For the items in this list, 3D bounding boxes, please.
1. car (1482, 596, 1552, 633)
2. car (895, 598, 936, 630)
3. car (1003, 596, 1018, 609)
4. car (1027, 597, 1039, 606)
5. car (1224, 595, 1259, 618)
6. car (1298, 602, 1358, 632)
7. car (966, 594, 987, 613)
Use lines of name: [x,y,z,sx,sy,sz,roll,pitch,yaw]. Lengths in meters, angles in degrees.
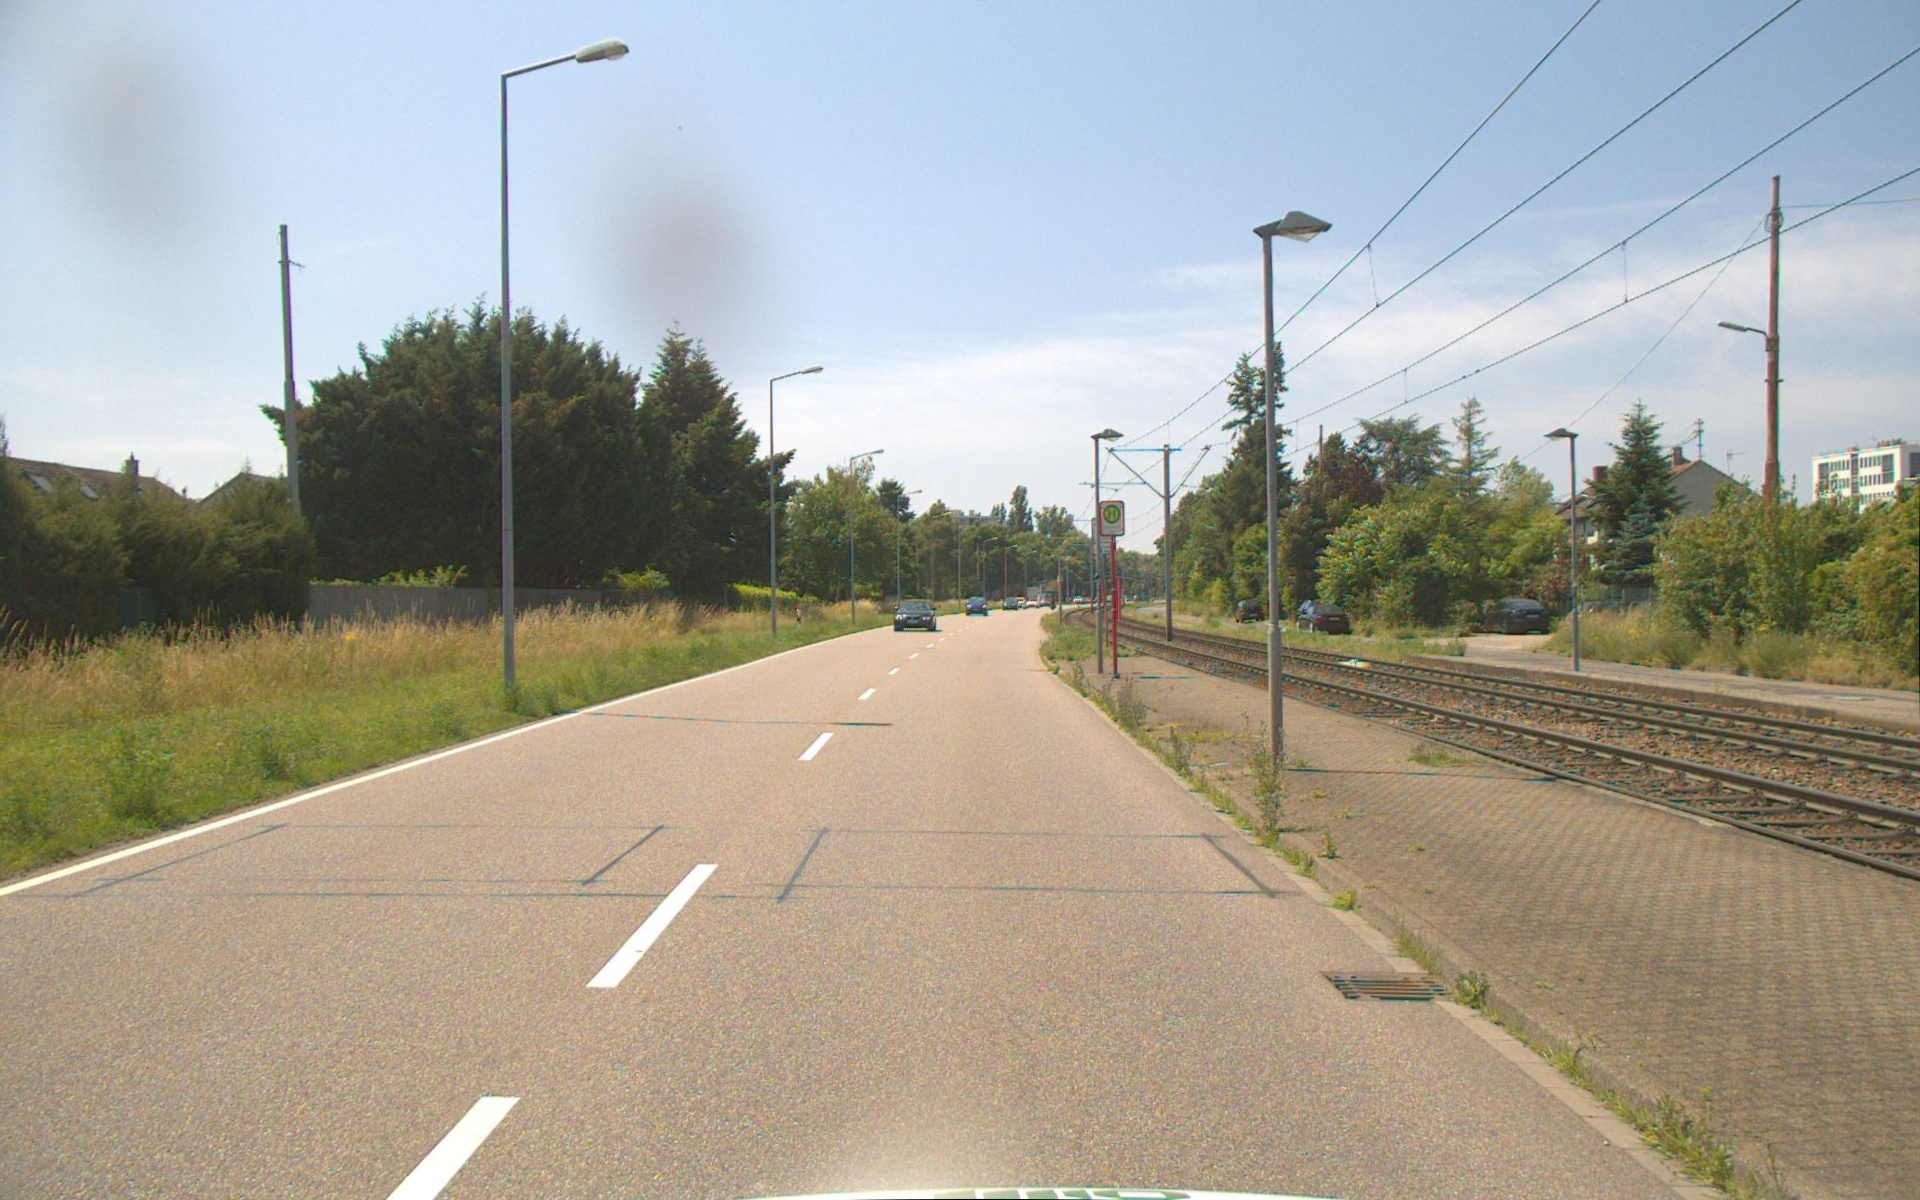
car: [23.019,0.587,68.463,1.685,1.444,3.739,0,0,0]
car: [-2.057,0.635,77.588,1.671,1.429,4.708,0,0,1]
car: [6.224,0.319,203.014,1.665,1.517,4.442,0,0,3]
car: [10.497,0.230,238.749,1.647,1.271,3.910,0,0,3]
car: [18.837,0.430,110.834,1.874,1.496,4.001,0,0,3]
car: [17.168,0.794,77.305,1.822,1.353,4.515,0,0,0]
car: [1.495,0.287,146.816,1.710,1.660,4.031,0,0,2]
